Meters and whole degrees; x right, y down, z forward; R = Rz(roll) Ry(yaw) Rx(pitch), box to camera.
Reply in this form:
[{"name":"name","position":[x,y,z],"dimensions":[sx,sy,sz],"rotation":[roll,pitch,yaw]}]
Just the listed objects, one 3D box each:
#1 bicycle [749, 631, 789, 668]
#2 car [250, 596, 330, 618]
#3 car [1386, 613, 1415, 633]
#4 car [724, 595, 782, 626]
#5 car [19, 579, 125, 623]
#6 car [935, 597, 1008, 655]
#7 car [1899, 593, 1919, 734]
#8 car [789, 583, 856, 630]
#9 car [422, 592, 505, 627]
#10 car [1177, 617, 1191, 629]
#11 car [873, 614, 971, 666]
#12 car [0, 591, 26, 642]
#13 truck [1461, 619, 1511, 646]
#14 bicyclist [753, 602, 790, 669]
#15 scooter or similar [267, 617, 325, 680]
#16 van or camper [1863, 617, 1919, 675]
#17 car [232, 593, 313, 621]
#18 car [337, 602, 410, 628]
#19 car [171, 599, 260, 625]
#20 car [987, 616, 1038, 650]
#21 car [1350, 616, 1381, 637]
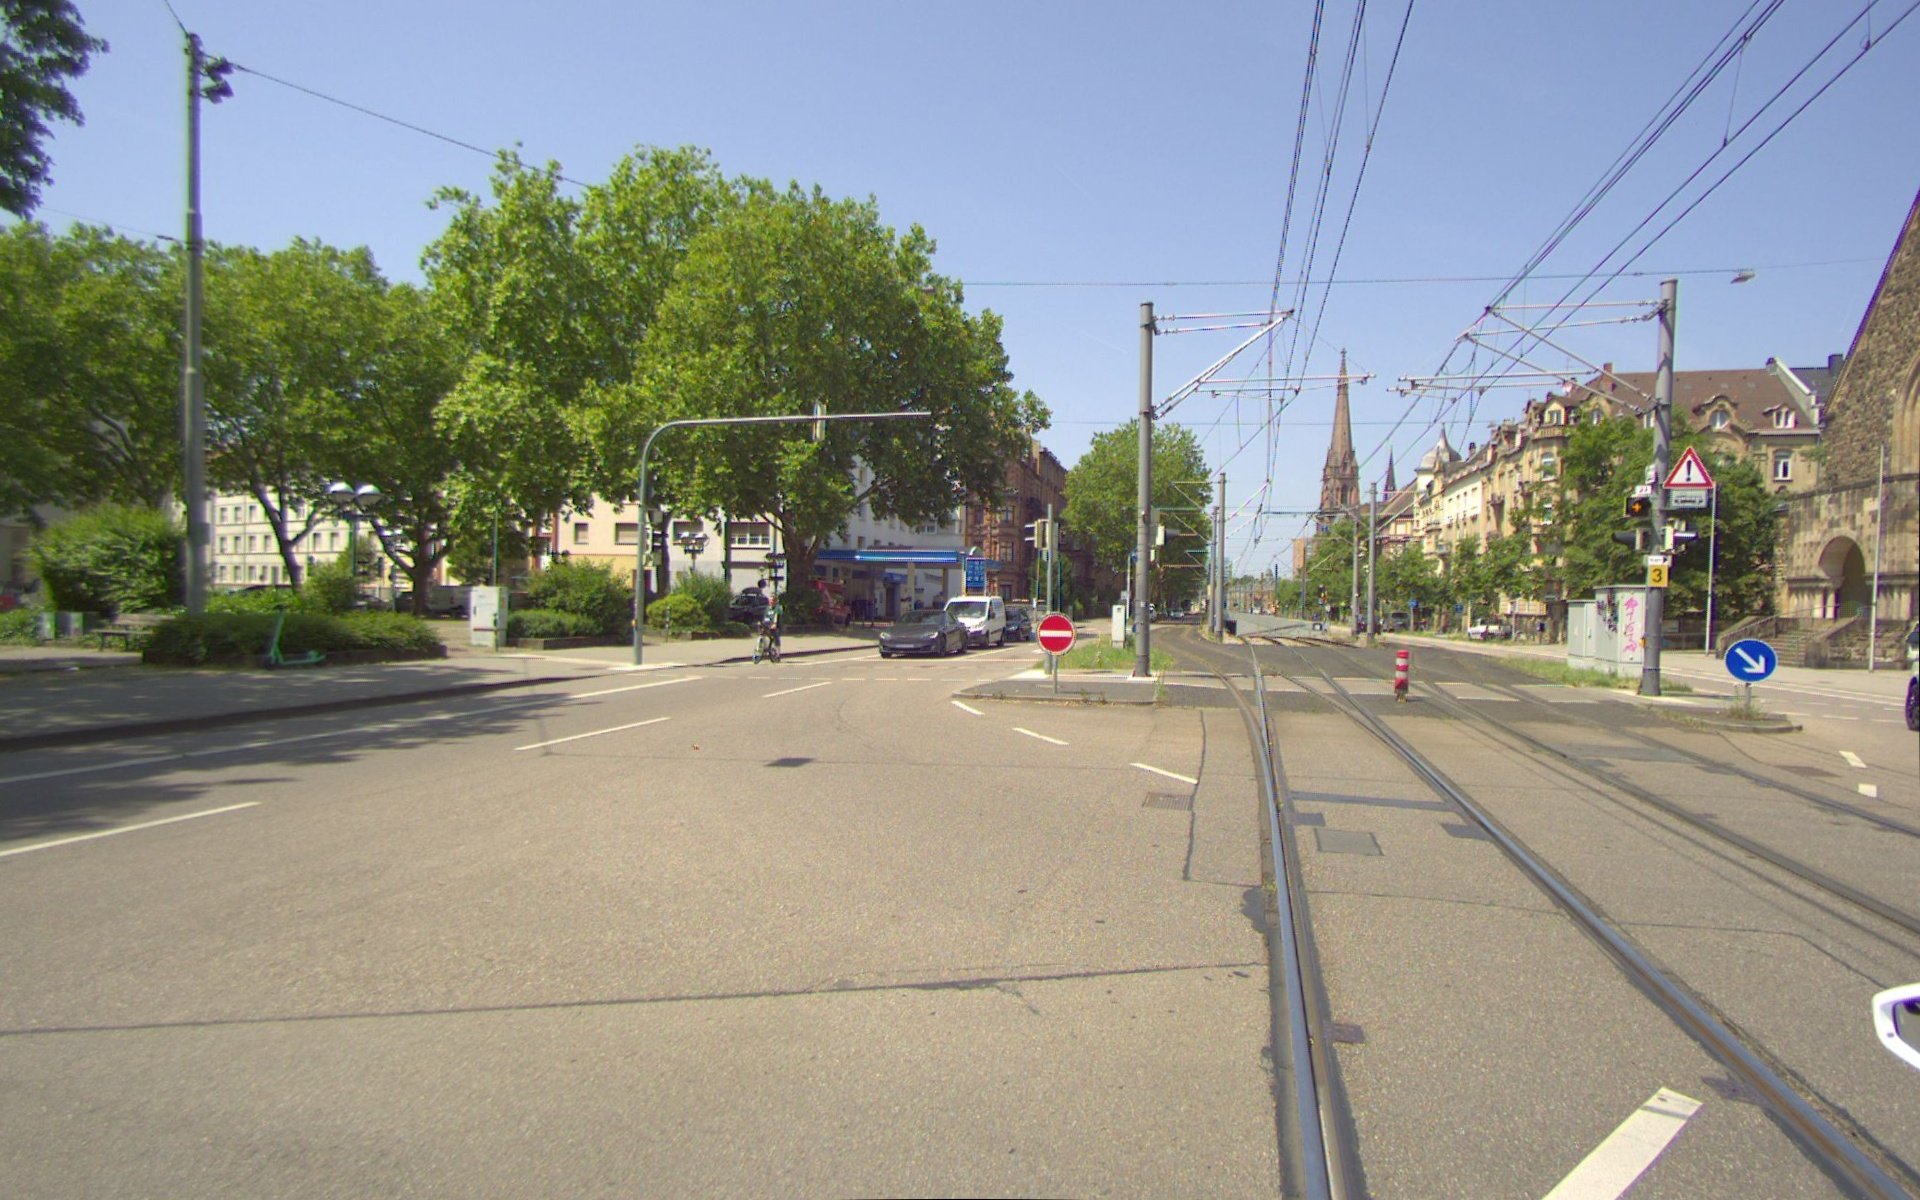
[{"name":"bicycle","position":[-5.008,1.297,26.371],"dimensions":[0.487,0.894,1.483],"rotation":[2,0,11]},{"name":"car","position":[-40.160,0.419,60.242],"dimensions":[3.772,1.272,1.924],"rotation":[1,0,12]},{"name":"car","position":[39.825,2.046,90.890],"dimensions":[1.720,1.728,3.761],"rotation":[2,0,13]},{"name":"car","position":[-11.448,0.587,55.696],"dimensions":[1.554,1.664,3.928],"rotation":[1,0,14]},{"name":"car","position":[-43.452,0.057,49.183],"dimensions":[3.920,1.975,2.166],"rotation":[2,0,17]},{"name":"car","position":[0.499,0.930,37.570],"dimensions":[1.746,2.017,4.808],"rotation":[1,0,12]},{"name":"car","position":[13.684,0.887,12.697],"dimensions":[1.890,1.970,4.252],"rotation":[2,0,33]},{"name":"car","position":[-7.521,0.359,55.577],"dimensions":[1.815,2.424,4.984],"rotation":[1,0,15]},{"name":"car","position":[-30.099,0.556,61.105],"dimensions":[1.884,2.017,5.111],"rotation":[1,0,9]},{"name":"car","position":[32.105,3.295,143.932],"dimensions":[1.816,1.647,4.604],"rotation":[0,-1,15]},{"name":"car","position":[-1.077,1.179,31.190],"dimensions":[1.914,1.377,4.631],"rotation":[1,0,12]},{"name":"car","position":[-28.587,0.420,28.477],"dimensions":[3.277,1.402,1.473],"rotation":[2,0,13]},{"name":"truck","position":[33.666,2.046,64.432],"dimensions":[1.759,1.546,4.468],"rotation":[1,0,13]},{"name":"bicyclist","position":[-4.974,0.926,26.539],"dimensions":[0.627,1.708,0.869],"rotation":[2,0,10]},{"name":"scooter or similar","position":[-12.202,0.882,18.477],"dimensions":[0.252,1.135,0.859],"rotation":[2,0,26]},{"name":"van or camper","position":[32.478,1.551,32.798],"dimensions":[3.919,1.831,2.001],"rotation":[2,0,11]},{"name":"car","position":[-40.205,0.404,58.775],"dimensions":[3.772,1.507,1.735],"rotation":[1,0,12]},{"name":"car","position":[-36.304,0.900,62.285],"dimensions":[1.884,1.507,3.853],"rotation":[1,0,9]},{"name":"car","position":[-41.371,0.674,55.838],"dimensions":[3.772,1.272,1.924],"rotation":[2,0,12]},{"name":"car","position":[2.369,1.424,44.428],"dimensions":[1.569,1.439,3.784],"rotation":[-1,-1,13]},{"name":"car","position":[32.285,2.063,80.132],"dimensions":[1.720,1.559,3.761],"rotation":[2,0,13]}]
